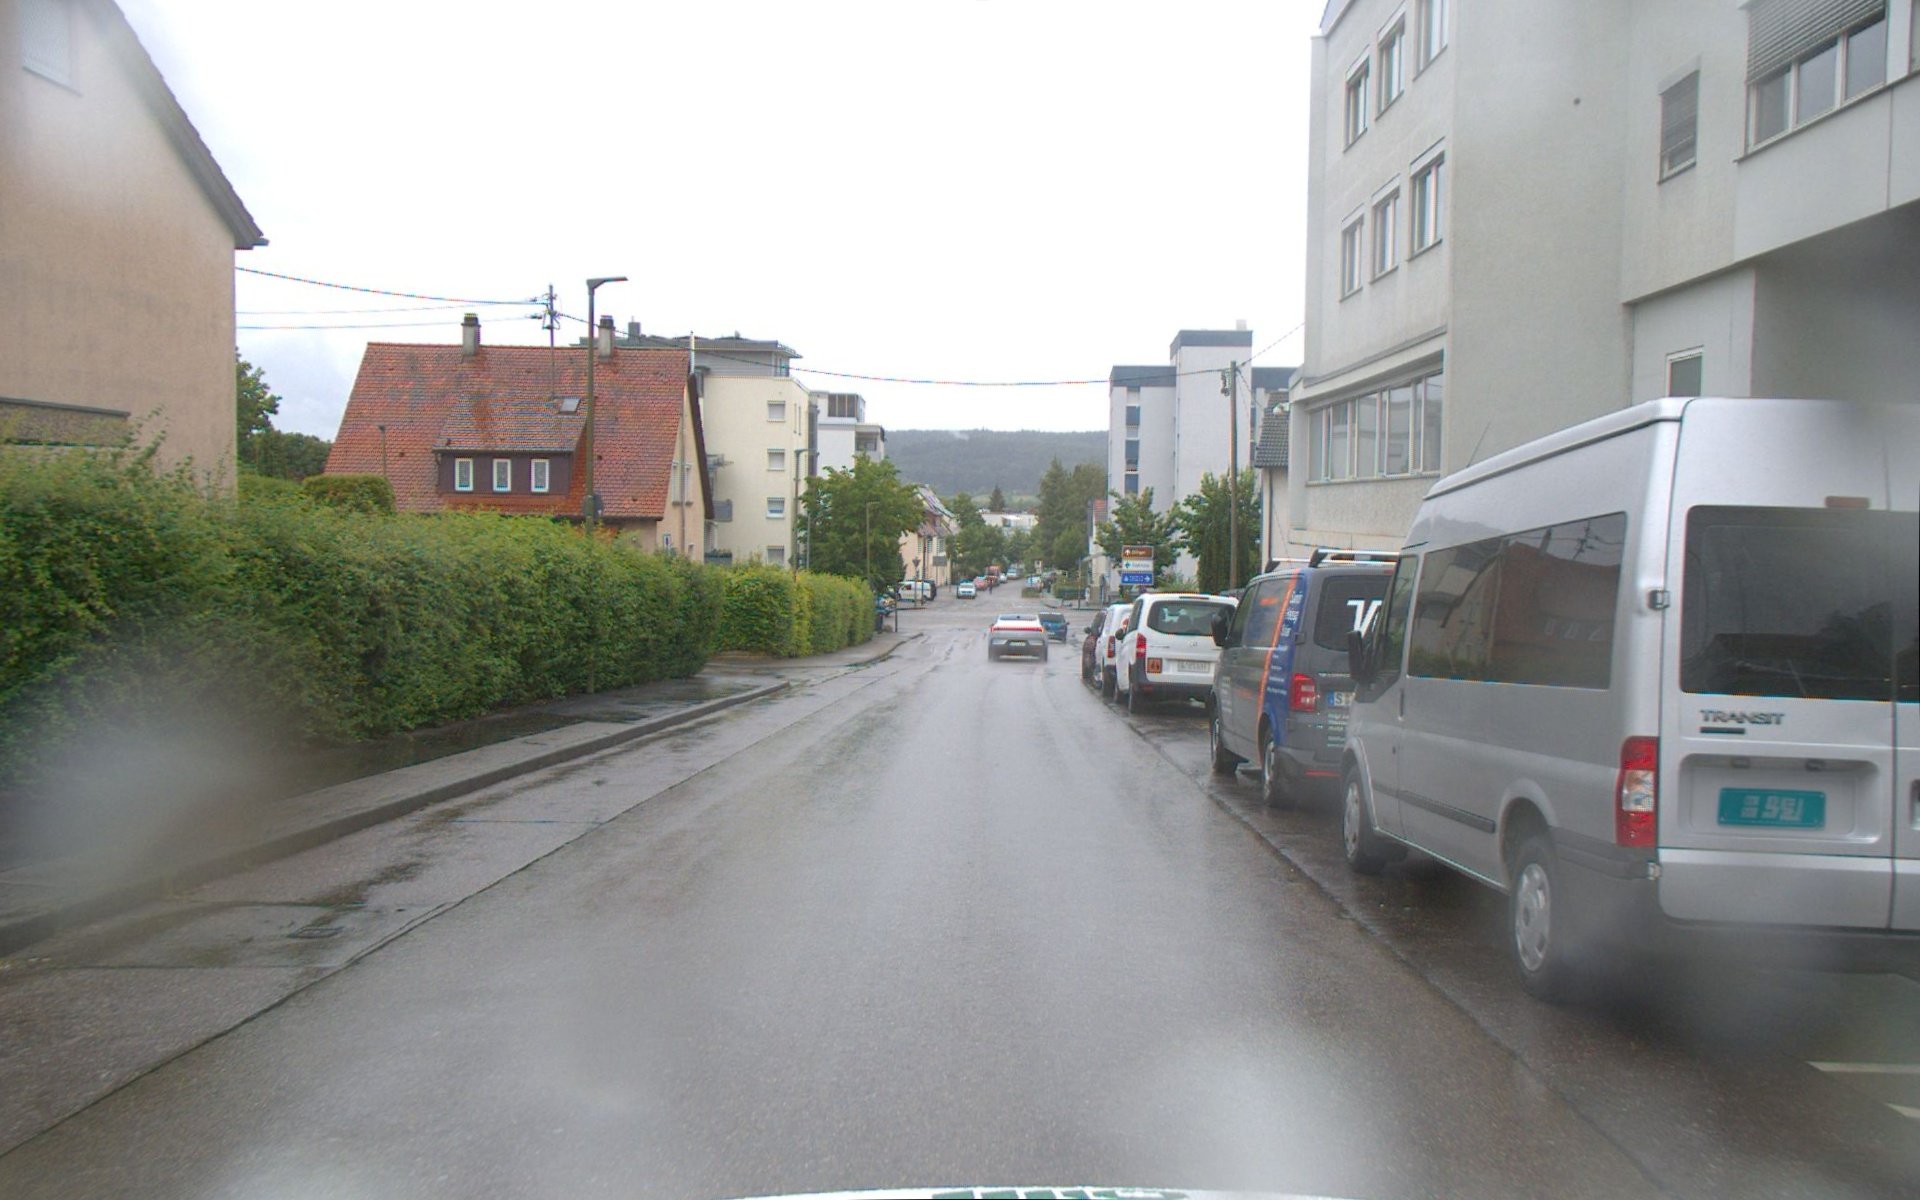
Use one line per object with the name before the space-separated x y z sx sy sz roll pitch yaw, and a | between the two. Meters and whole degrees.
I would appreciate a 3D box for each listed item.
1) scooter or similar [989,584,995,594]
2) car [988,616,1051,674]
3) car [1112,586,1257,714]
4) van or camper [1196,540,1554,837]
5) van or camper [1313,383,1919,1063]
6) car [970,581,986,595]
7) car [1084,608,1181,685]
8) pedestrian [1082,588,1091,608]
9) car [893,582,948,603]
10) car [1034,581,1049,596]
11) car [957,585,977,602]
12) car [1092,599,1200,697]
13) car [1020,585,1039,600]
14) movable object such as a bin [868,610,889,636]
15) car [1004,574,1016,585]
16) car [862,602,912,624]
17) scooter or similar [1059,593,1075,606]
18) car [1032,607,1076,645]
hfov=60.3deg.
scooter or similar | 3.773 -1.321 194.837 0.741 1.192 1.315 -1 1 4
car | 1.956 1.458 55.261 1.953 1.713 4.000 -1 1 0
car | 3.711 0.788 28.158 1.952 1.969 4.977 1 0 2
van or camper | 3.382 0.639 14.615 1.952 2.150 5.203 0 0 1
van or camper | 3.279 0.409 8.281 1.952 2.282 5.442 0 0 1
car | 2.231 -1.503 207.130 1.862 1.586 4.193 -1 1 2
car | 4.014 1.045 39.161 1.952 1.673 4.959 1 0 2
pedestrian | 10.871 -0.166 142.201 0.634 1.676 0.525 3 0 -4
car | -3.599 -0.721 151.182 4.791 1.867 1.974 -1 1 -37
car | 10.108 -1.487 206.002 1.862 1.775 4.193 -1 1 2
car | 0.752 -0.671 170.687 1.952 1.654 4.193 -1 1 2
car | 3.729 0.930 33.832 1.839 1.866 4.490 1 0 2
car | 7.731 -0.848 184.159 2.101 1.617 4.130 -1 1 2
movable object such as a bin | -4.455 1.256 90.516 1.049 1.371 1.319 2 0 0
car | 7.778 -3.187 257.240 1.862 1.586 4.193 -1 1 2
car | -5.640 0.985 127.701 1.874 1.551 3.940 -1 1 -41
scooter or similar | 9.100 -0.016 141.075 1.242 1.100 0.876 -1 1 -3
car | 4.665 1.271 82.482 1.953 1.713 4.000 -1 1 0
